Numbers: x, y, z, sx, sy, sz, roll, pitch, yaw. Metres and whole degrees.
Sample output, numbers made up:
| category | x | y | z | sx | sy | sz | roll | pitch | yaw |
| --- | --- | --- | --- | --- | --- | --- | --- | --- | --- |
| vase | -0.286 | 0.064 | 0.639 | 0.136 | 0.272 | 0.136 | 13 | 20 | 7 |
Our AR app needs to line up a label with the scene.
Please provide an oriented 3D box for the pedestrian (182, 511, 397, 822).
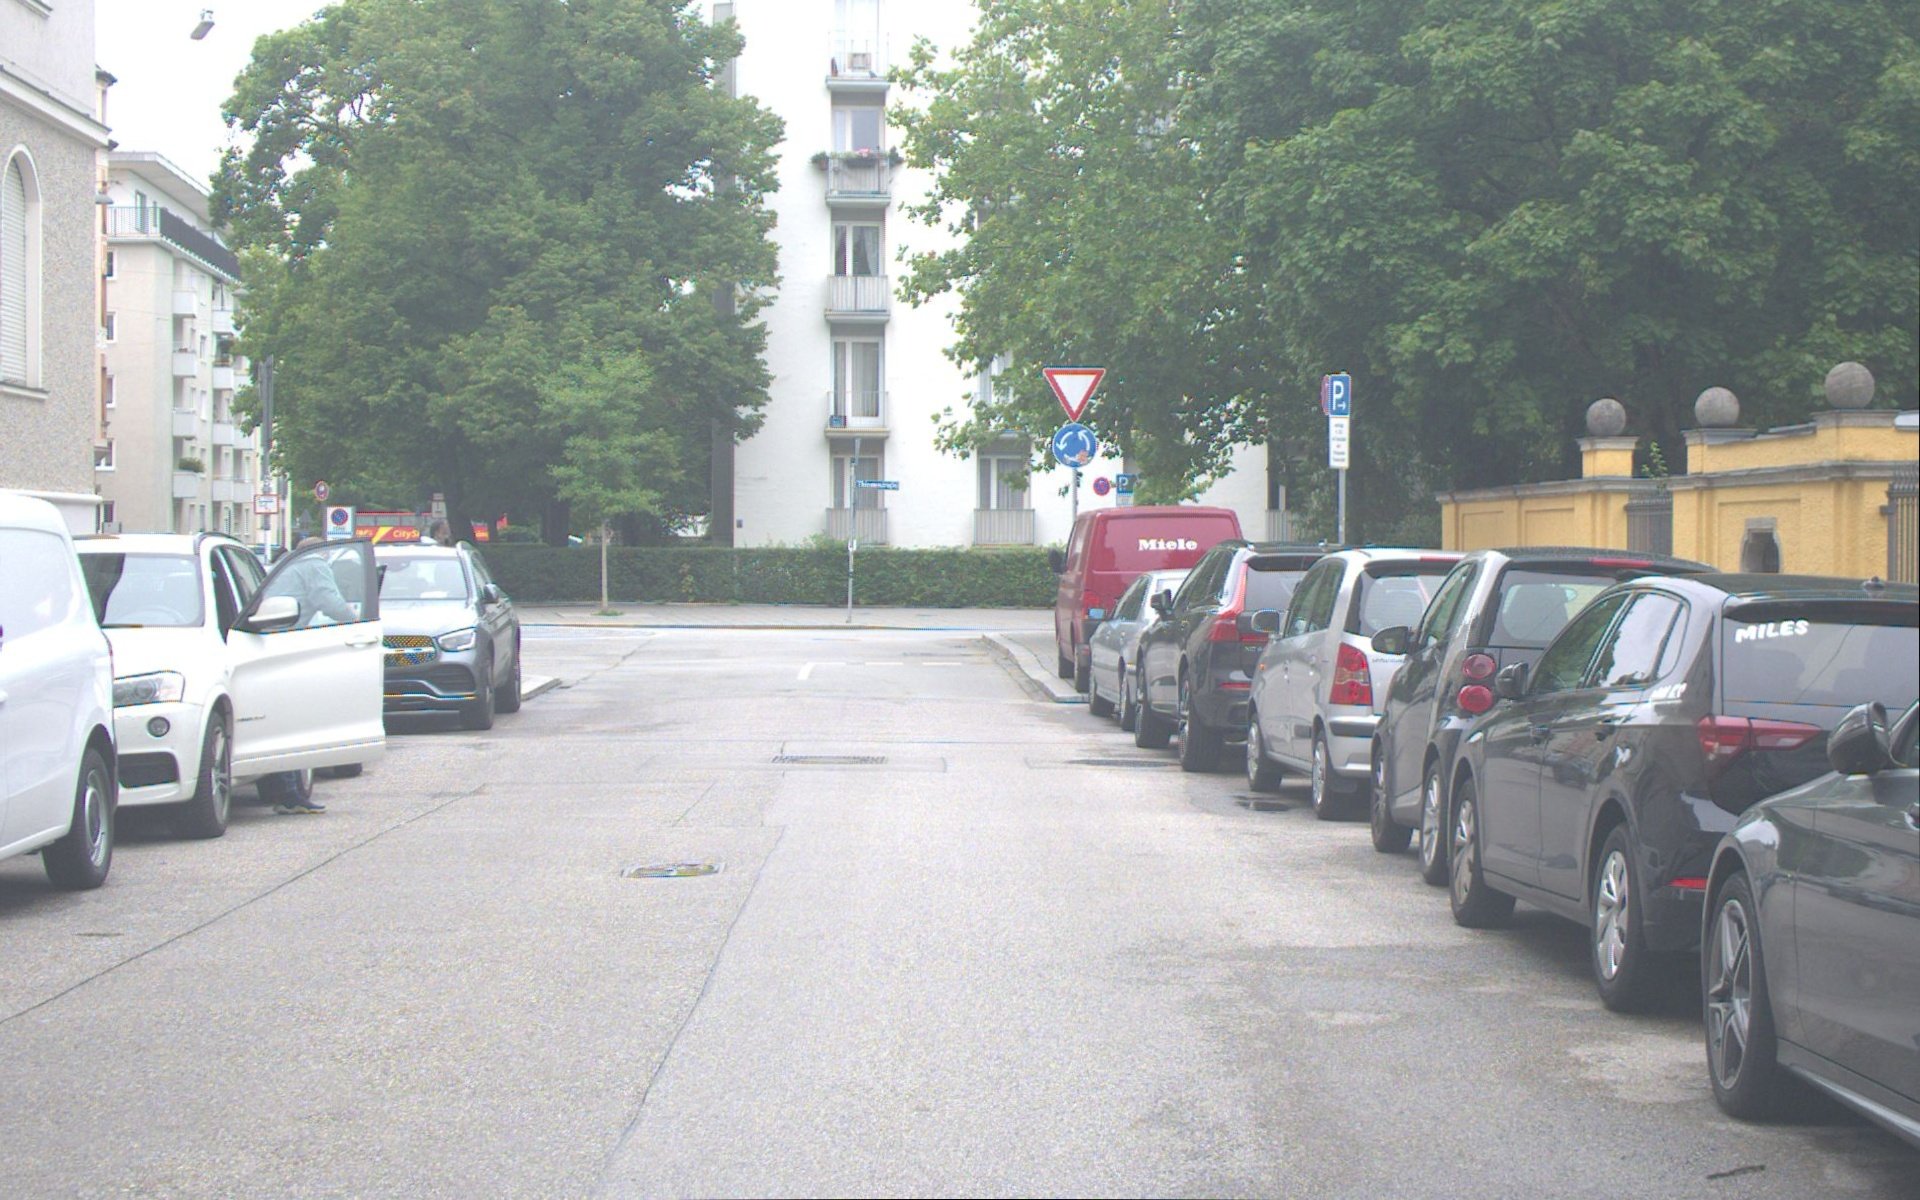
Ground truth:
| category | x | y | z | sx | sy | sz | roll | pitch | yaw |
| --- | --- | --- | --- | --- | --- | --- | --- | --- | --- |
| pedestrian | -3.891 | 0.365 | 19.933 | 0.961 | 1.750 | 0.877 | 0 | 1 | -31 |

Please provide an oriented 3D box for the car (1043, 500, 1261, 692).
| category | x | y | z | sx | sy | sz | roll | pitch | yaw |
| --- | --- | --- | --- | --- | --- | --- | --- | --- | --- |
| car | 2.029 | -0.080 | 37.621 | 1.873 | 1.914 | 4.888 | 2 | 1 | -2 |

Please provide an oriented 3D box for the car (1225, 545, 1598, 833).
| category | x | y | z | sx | sy | sz | roll | pitch | yaw |
| --- | --- | --- | --- | --- | --- | --- | --- | --- | --- |
| car | 2.649 | 0.467 | 20.920 | 1.484 | 1.534 | 3.693 | 2 | 1 | -4 |

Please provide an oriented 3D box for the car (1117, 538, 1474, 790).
| category | x | y | z | sx | sy | sz | roll | pitch | yaw |
| --- | --- | --- | --- | --- | --- | --- | --- | --- | --- |
| car | 2.395 | 0.396 | 25.799 | 1.884 | 1.647 | 4.824 | 2 | 1 | -3 |

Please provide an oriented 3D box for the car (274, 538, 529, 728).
| category | x | y | z | sx | sy | sz | roll | pitch | yaw |
| --- | --- | --- | --- | --- | --- | --- | --- | --- | --- |
| car | -5.023 | 0.246 | 31.442 | 1.746 | 1.597 | 4.497 | -1 | 1 | -2 |

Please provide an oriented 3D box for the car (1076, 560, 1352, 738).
| category | x | y | z | sx | sy | sz | roll | pitch | yaw |
| --- | --- | --- | --- | --- | --- | --- | --- | --- | --- |
| car | 2.270 | 0.398 | 31.897 | 1.884 | 1.443 | 4.369 | 2 | 1 | -4 |

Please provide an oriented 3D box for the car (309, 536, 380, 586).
| category | x | y | z | sx | sy | sz | roll | pitch | yaw |
| --- | --- | --- | --- | --- | --- | --- | --- | --- | --- |
| car | -20.734 | -1.323 | 115.891 | 1.835 | 1.629 | 3.820 | -1 | 1 | -2 |

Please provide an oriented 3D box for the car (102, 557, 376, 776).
| category | x | y | z | sx | sy | sz | roll | pitch | yaw |
| --- | --- | --- | --- | --- | --- | --- | --- | --- | --- |
| car | -5.060 | 0.412 | 24.509 | 1.691 | 1.410 | 3.664 | -1 | 1 | -9 |

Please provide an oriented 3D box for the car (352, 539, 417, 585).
| category | x | y | z | sx | sy | sz | roll | pitch | yaw |
| --- | --- | --- | --- | --- | --- | --- | --- | --- | --- |
| car | -20.898 | -1.383 | 125.020 | 1.835 | 1.629 | 3.820 | -1 | 1 | -2 |

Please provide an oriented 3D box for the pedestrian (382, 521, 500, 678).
| category | x | y | z | sx | sy | sz | roll | pitch | yaw |
| --- | --- | --- | --- | --- | --- | --- | --- | --- | --- |
| pedestrian | -5.954 | -0.011 | 39.436 | 1.049 | 1.765 | 0.876 | 0 | 1 | -35 |

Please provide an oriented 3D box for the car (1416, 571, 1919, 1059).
| category | x | y | z | sx | sy | sz | roll | pitch | yaw |
| --- | --- | --- | --- | --- | --- | --- | --- | --- | --- |
| car | 2.859 | 0.649 | 12.364 | 1.691 | 1.410 | 4.037 | 2 | 1 | -2 |

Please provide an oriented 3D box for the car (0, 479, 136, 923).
| category | x | y | z | sx | sy | sz | roll | pitch | yaw |
| --- | --- | --- | --- | --- | --- | --- | --- | --- | --- |
| car | -4.734 | 0.414 | 13.793 | 1.746 | 1.782 | 5.037 | -1 | 1 | -1 |

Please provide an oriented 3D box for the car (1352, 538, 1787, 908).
| category | x | y | z | sx | sy | sz | roll | pitch | yaw |
| --- | --- | --- | --- | --- | --- | --- | --- | --- | --- |
| car | 2.831 | 0.520 | 16.492 | 1.508 | 1.560 | 2.869 | 2 | 1 | 0 |

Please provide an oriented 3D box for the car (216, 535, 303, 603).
| category | x | y | z | sx | sy | sz | roll | pitch | yaw |
| --- | --- | --- | --- | --- | --- | --- | --- | --- | --- |
| car | -16.107 | -0.732 | 79.157 | 1.818 | 1.500 | 4.423 | -1 | 1 | -10 |

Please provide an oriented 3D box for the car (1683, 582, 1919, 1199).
| category | x | y | z | sx | sy | sz | roll | pitch | yaw |
| --- | --- | --- | --- | --- | --- | --- | --- | --- | --- |
| car | 2.853 | 0.692 | 7.223 | 1.692 | 1.410 | 4.516 | 0 | 1 | 0 |

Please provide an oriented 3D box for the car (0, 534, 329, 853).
| category | x | y | z | sx | sy | sz | roll | pitch | yaw |
| --- | --- | --- | --- | --- | --- | --- | --- | --- | --- |
| car | -4.811 | 0.441 | 19.587 | 1.746 | 1.597 | 4.497 | -1 | 1 | -2 |
